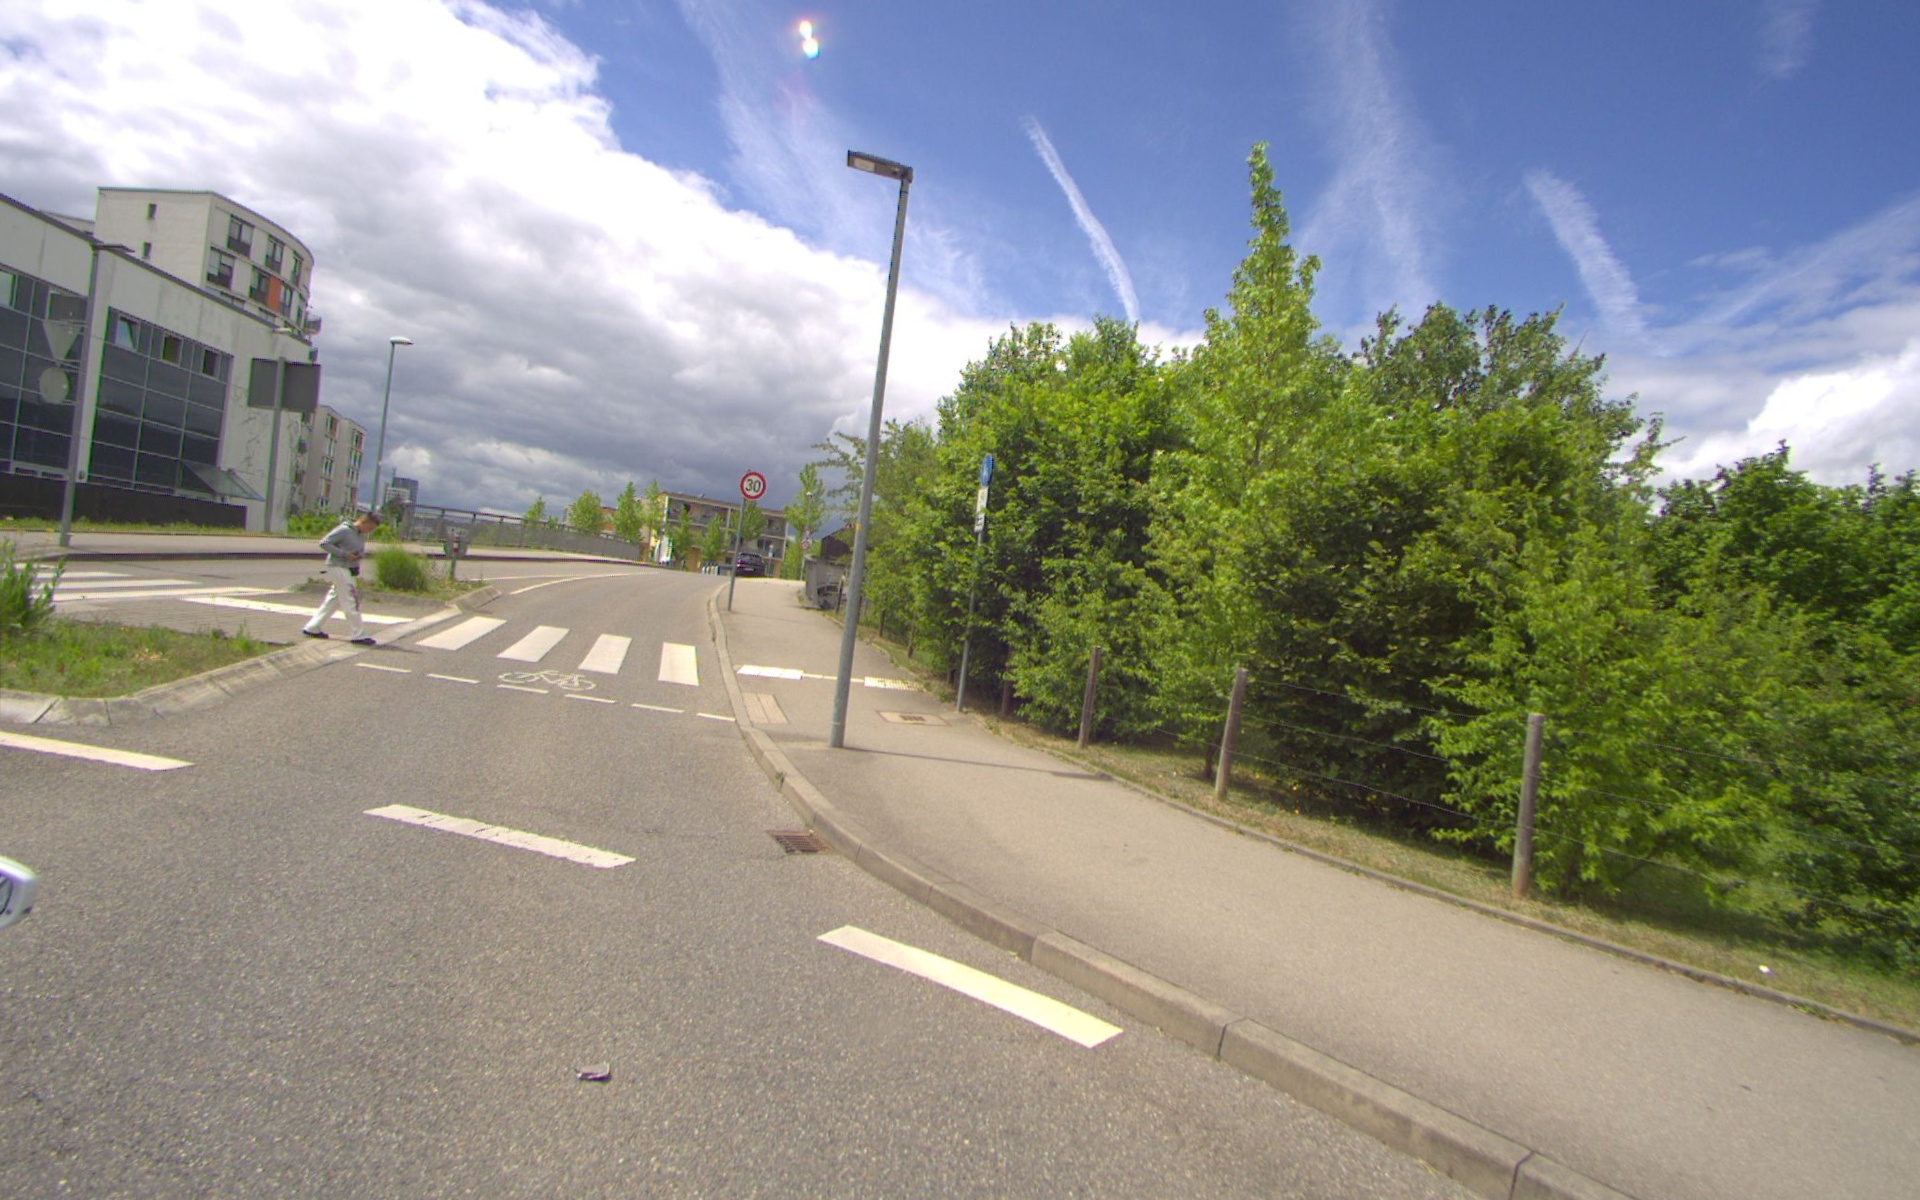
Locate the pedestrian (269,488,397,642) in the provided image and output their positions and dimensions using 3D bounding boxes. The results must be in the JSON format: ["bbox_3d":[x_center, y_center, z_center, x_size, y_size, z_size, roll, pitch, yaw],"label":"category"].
[{"bbox_3d":[-7.122,-0.380,11.450,1.028,1.558,0.887,8,-2,-33],"label":"pedestrian"}]

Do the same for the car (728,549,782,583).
[{"bbox_3d":[-12.404,-2.019,61.082,1.876,1.469,4.006,7,-2,7],"label":"car"}]
